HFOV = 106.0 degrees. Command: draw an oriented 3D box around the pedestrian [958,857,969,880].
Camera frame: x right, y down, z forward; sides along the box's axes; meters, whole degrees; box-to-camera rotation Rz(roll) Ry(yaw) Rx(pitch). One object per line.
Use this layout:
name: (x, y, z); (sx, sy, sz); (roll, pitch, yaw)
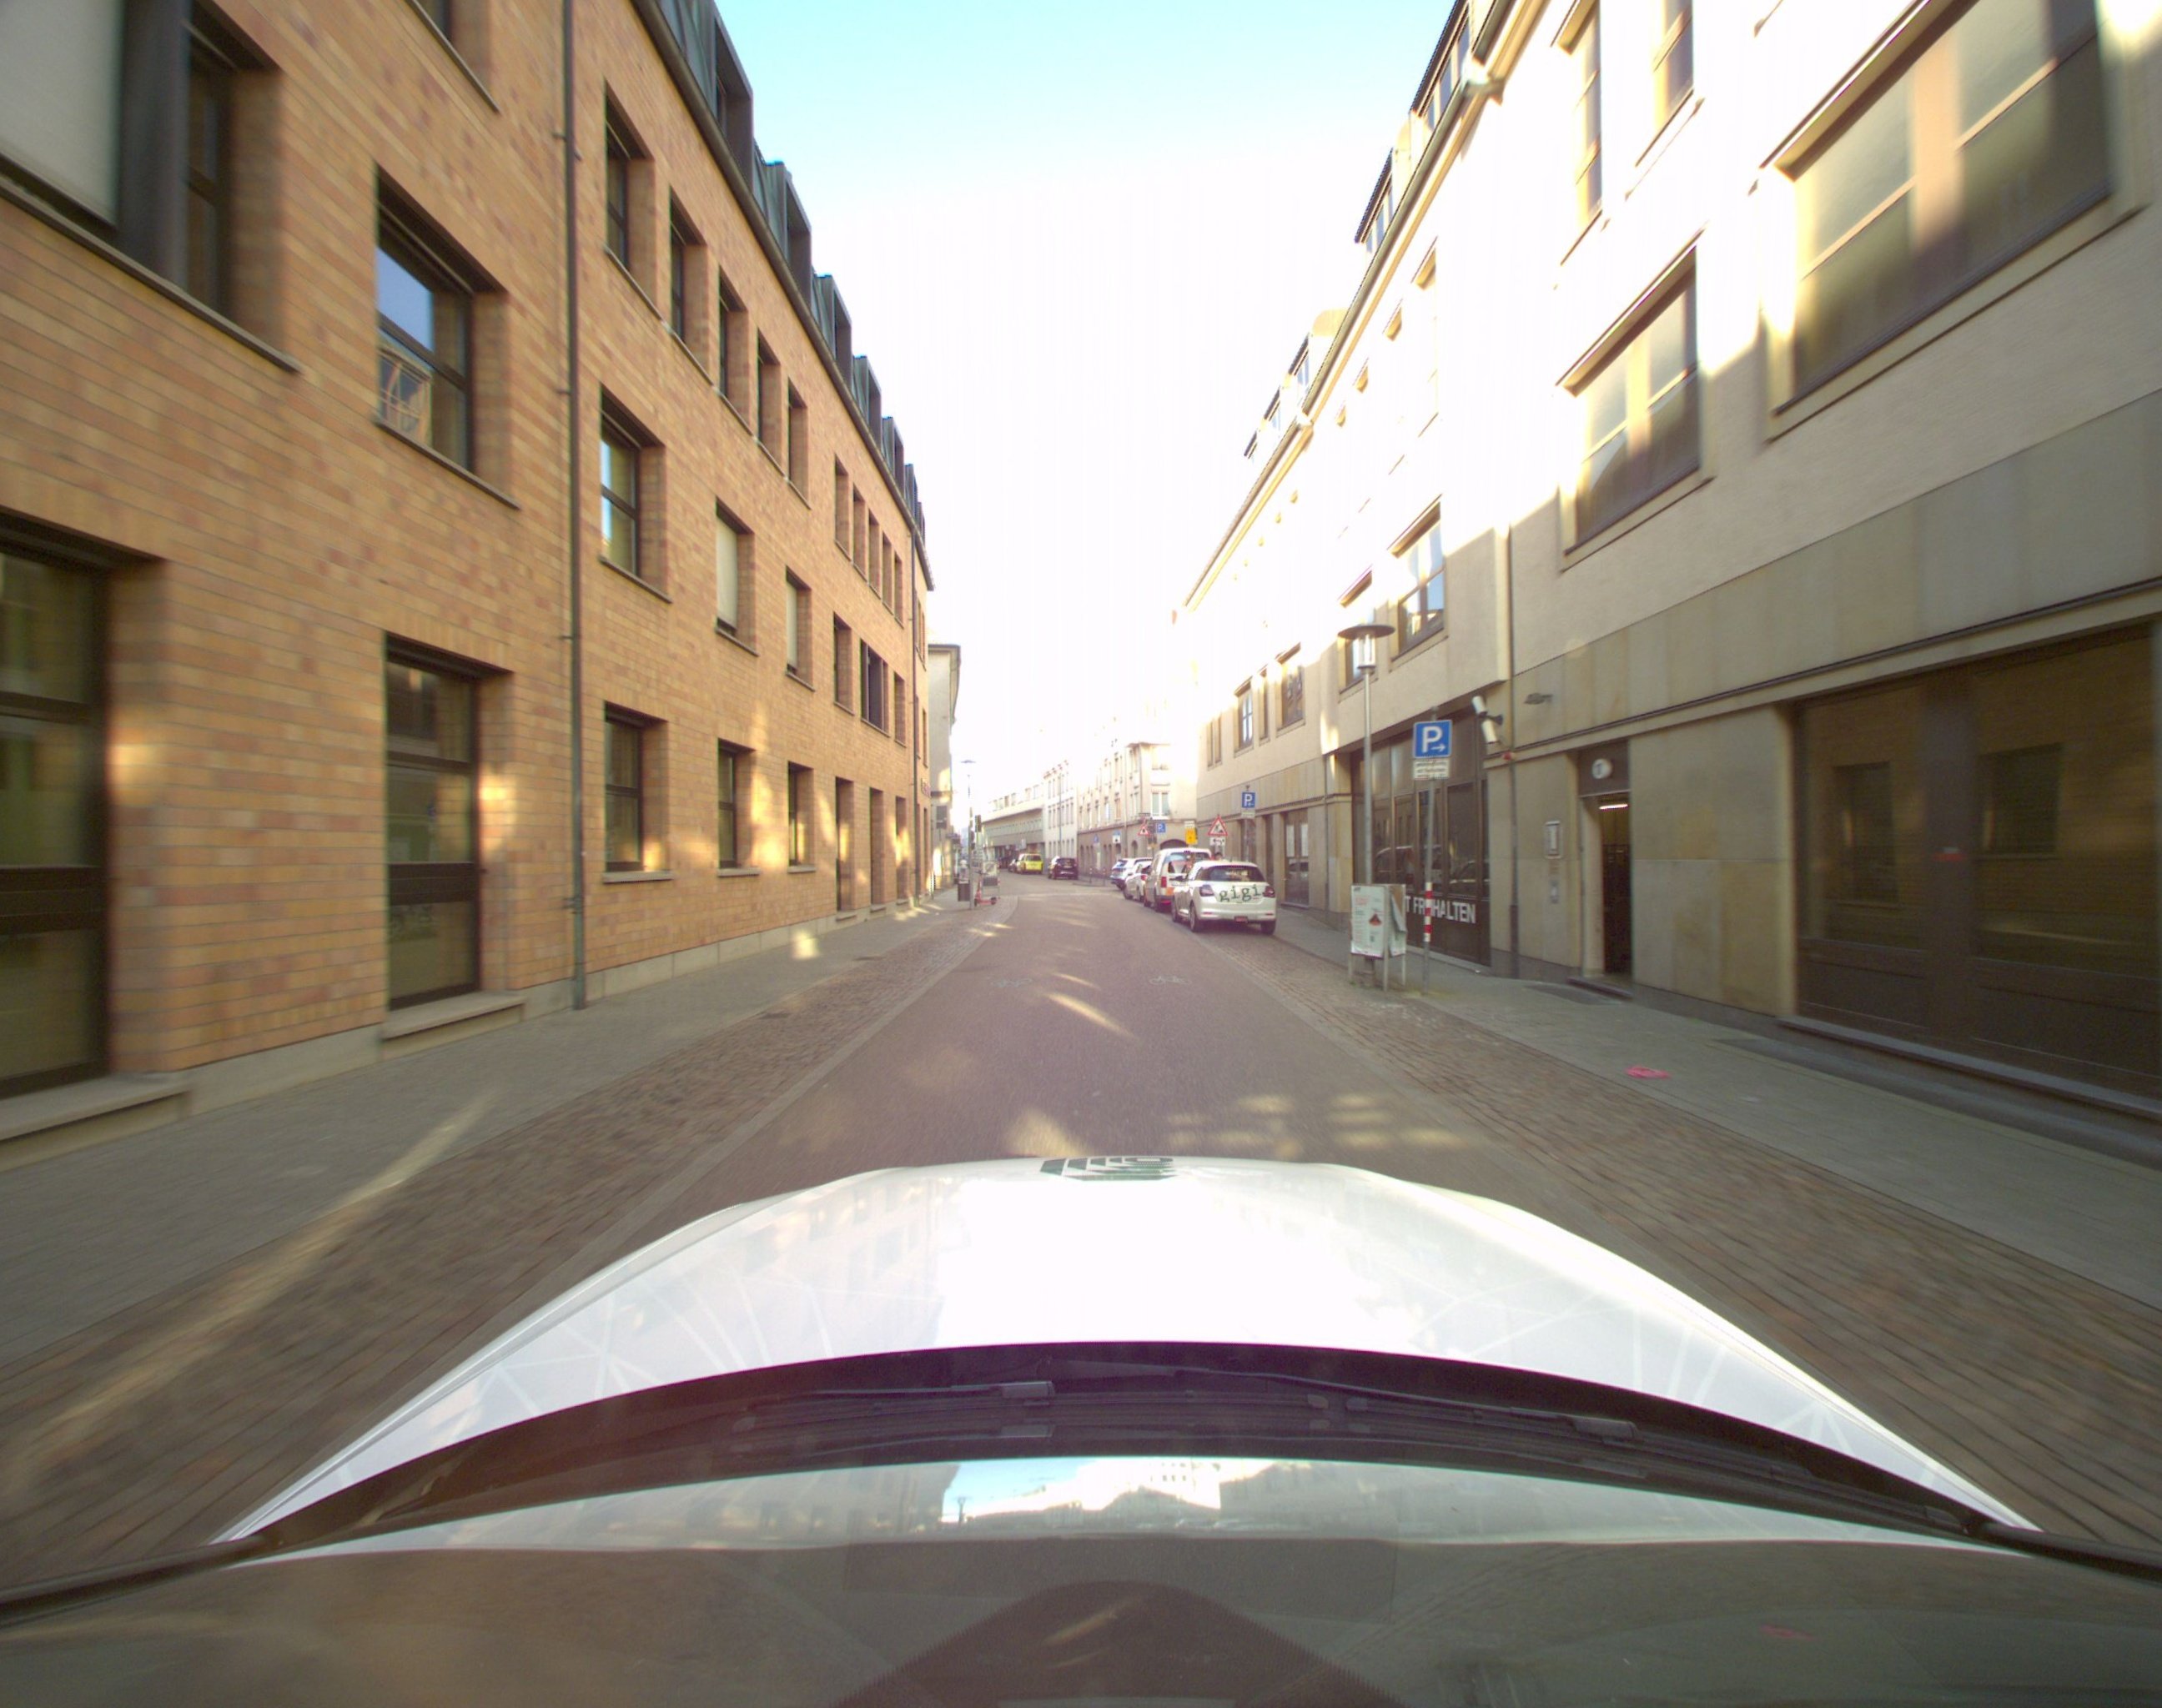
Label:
pedestrian: (-9.128, 1.115, 63.116); (0.767, 1.724, 0.683); (-1, 0, -16)

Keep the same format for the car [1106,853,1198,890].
car: (3.360, 0.809, 38.701); (3.993, 1.562, 1.833); (-2, 0, -15)

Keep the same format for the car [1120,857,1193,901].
car: (2.753, 0.865, 30.553); (1.886, 1.518, 4.053); (0, 0, -7)

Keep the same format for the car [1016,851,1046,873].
car: (-4.747, 0.756, 76.585); (2.056, 2.013, 4.154); (-1, 0, -15)

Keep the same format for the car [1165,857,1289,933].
car: (3.131, 0.822, 18.311); (1.836, 1.478, 4.164); (1, 0, -3)

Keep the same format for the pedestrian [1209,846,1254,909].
pedestrian: (4.477, 0.695, 24.314); (1.039, 1.801, 1.197); (-1, -1, -2)

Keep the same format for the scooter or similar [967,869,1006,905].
scooter or similar: (-3.311, 1.146, 28.567); (0.691, 1.217, 1.365); (-2, 0, 25)

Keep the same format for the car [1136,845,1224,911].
car: (2.861, 0.668, 24.607); (1.826, 1.791, 5.209); (0, 0, -2)

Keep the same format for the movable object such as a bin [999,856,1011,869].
movable object such as a bin: (-9.432, 1.075, 100.573); (1.135, 1.558, 1.729); (-1, 0, -18)

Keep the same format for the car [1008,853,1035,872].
car: (-6.052, 0.861, 82.303); (2.056, 1.873, 4.080); (-1, 0, -15)

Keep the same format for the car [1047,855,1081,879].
car: (-1.280, 0.954, 60.294); (1.968, 1.692, 4.087); (0, 0, -10)
